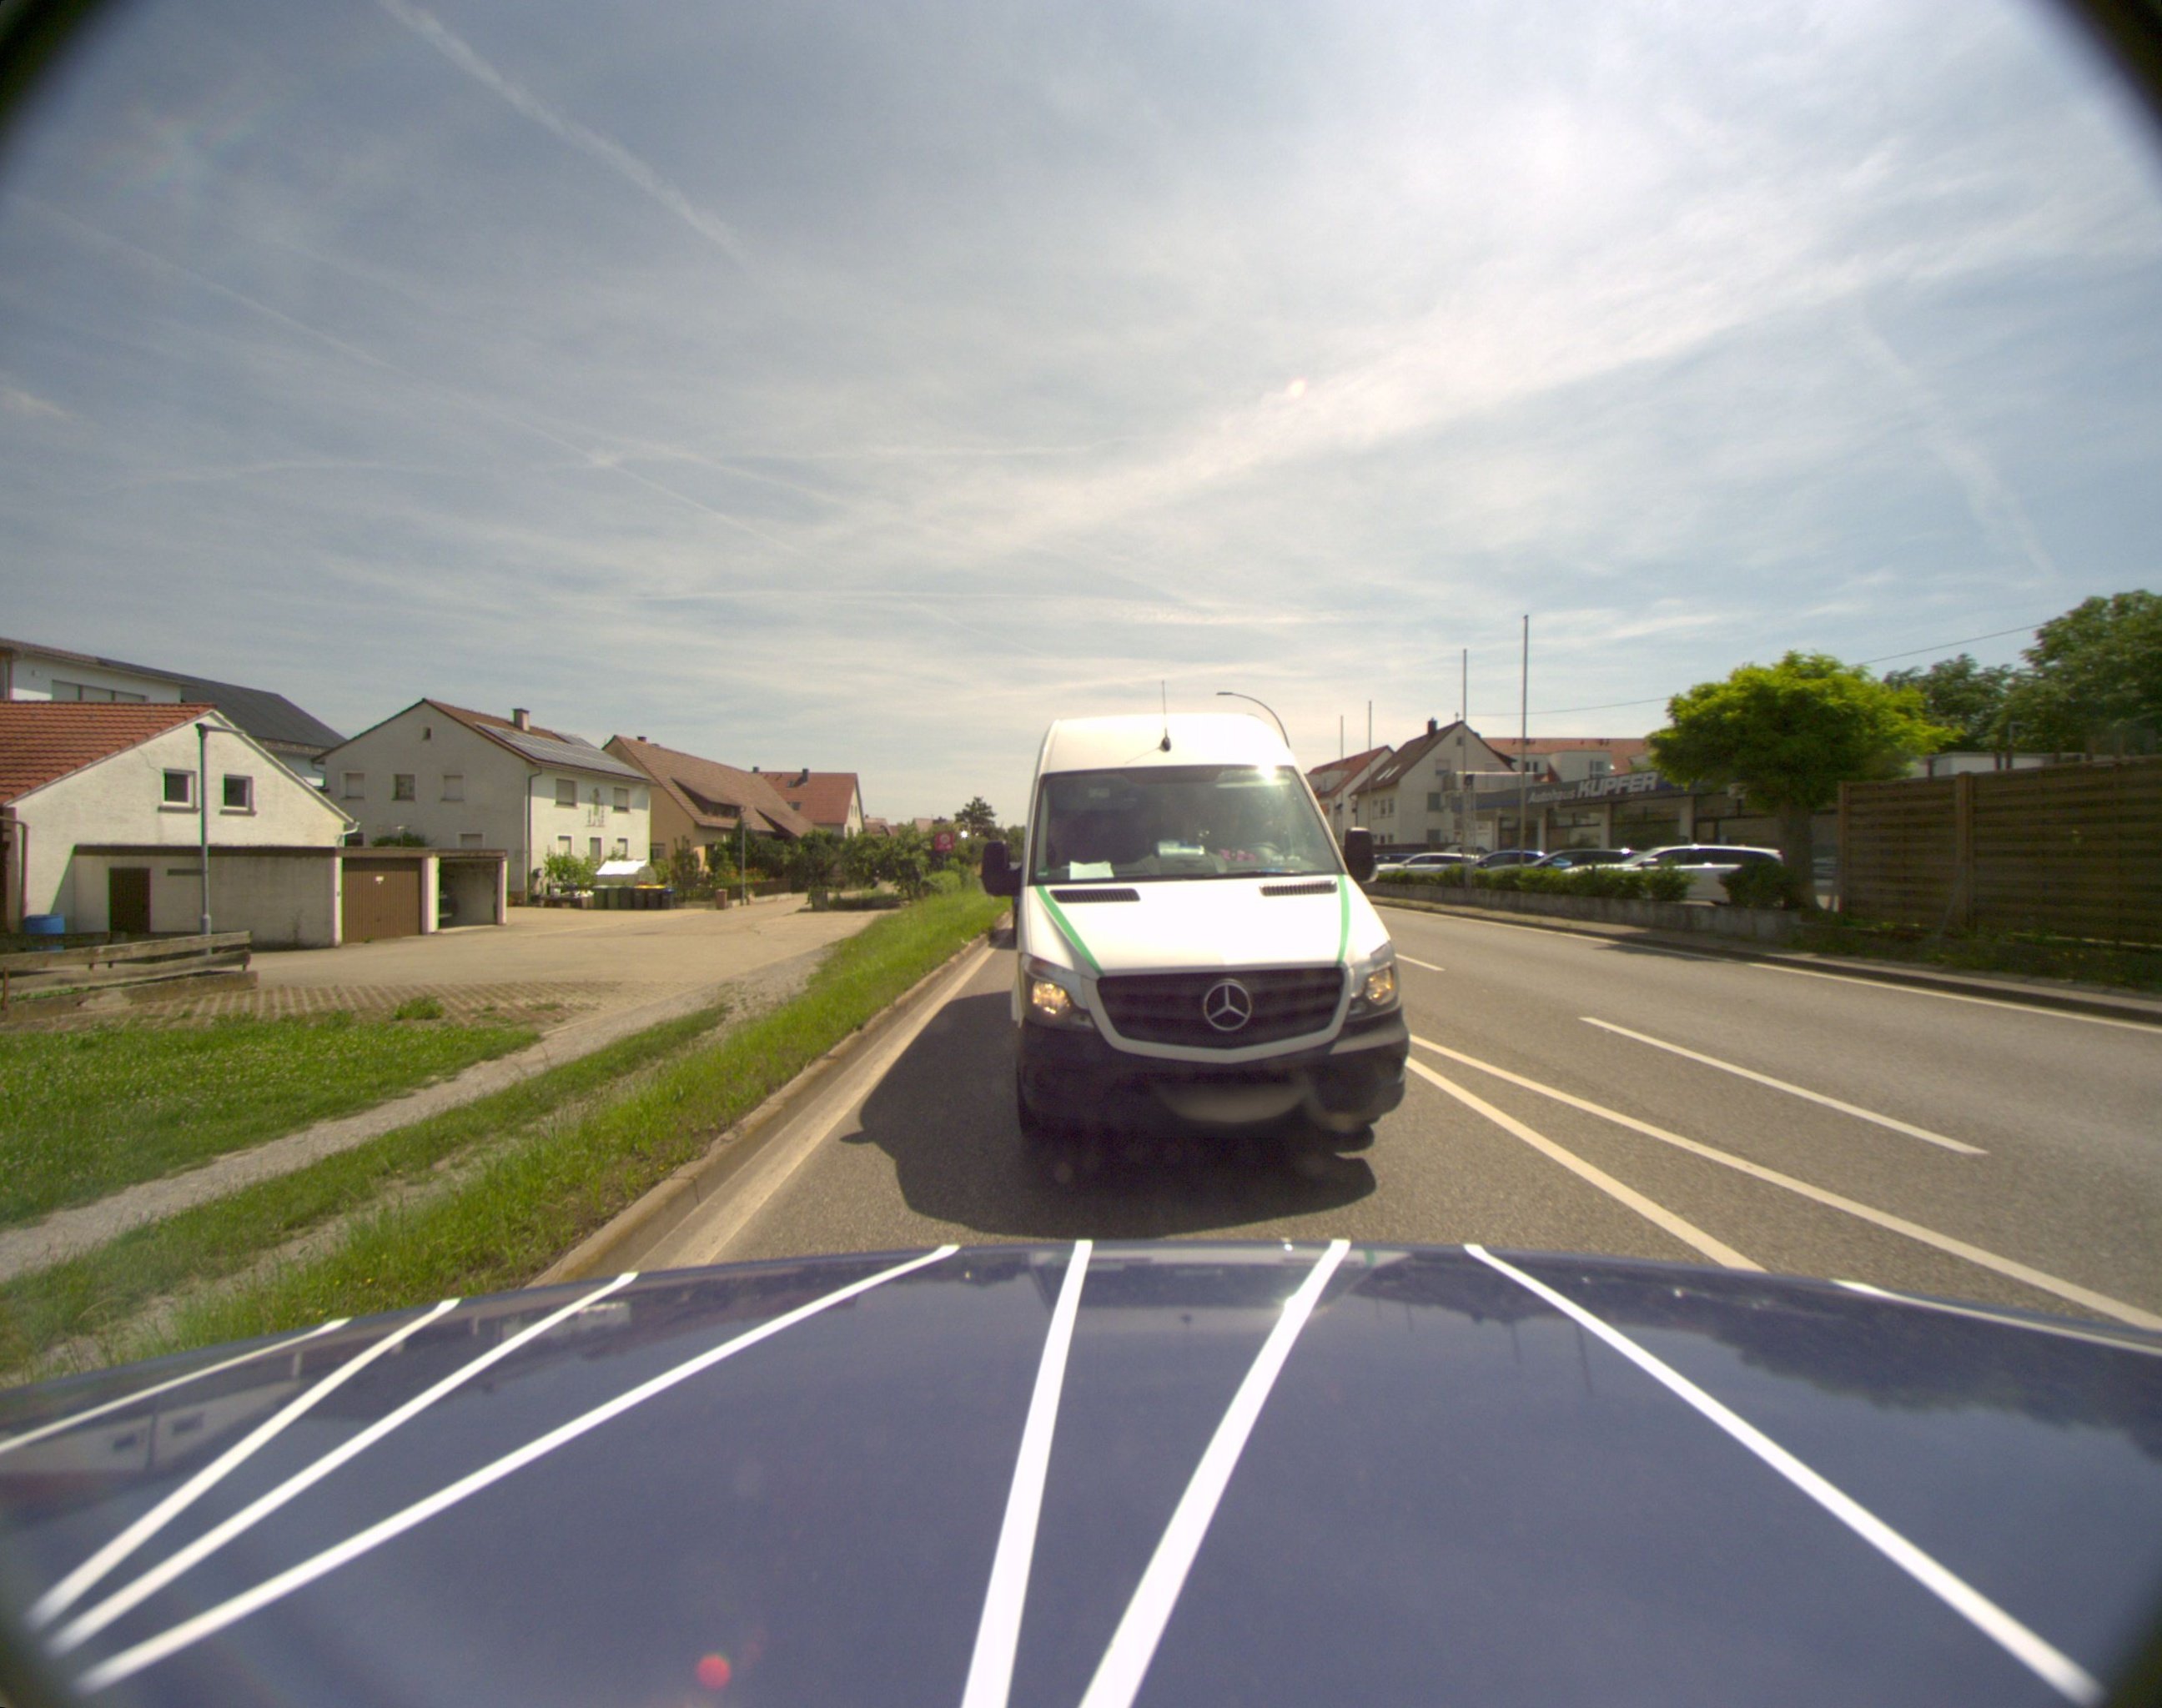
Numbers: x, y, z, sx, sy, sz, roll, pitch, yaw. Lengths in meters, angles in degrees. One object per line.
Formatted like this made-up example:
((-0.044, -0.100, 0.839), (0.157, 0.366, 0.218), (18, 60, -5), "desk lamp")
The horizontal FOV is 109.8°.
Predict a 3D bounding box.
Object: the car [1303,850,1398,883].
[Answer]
((13.558, 0.616, 38.252), (4.255, 1.521, 2.003), (-2, 0, 26), "car")

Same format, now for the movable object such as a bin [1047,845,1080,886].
((-1.180, 0.761, 53.888), (1.998, 2.710, 5.419), (-1, 0, 1), "movable object such as a bin")

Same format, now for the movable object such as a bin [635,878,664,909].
((-19.875, 1.825, 35.005), (0.765, 1.362, 0.946), (-2, 0, -1), "movable object such as a bin")

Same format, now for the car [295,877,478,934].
((-21.553, 1.564, 23.698), (3.997, 1.594, 1.826), (-1, 0, 0), "car")

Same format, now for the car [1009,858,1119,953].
((-0.318, 0.870, 14.659), (1.824, 1.574, 3.901), (-1, 0, -1), "car")

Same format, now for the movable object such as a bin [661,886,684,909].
((-18.867, 1.992, 35.100), (0.645, 1.021, 0.756), (-2, 0, -1), "movable object such as a bin")

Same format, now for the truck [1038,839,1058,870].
((-4.291, 0.100, 99.983), (2.506, 3.847, 5.497), (-1, 0, -1), "truck")

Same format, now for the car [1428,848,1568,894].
((13.917, 0.577, 25.627), (3.990, 1.433, 1.857), (-2, 0, 25), "car")

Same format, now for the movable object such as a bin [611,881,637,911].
((-21.214, 1.938, 35.302), (0.678, 1.330, 0.820), (-2, 0, -1), "movable object such as a bin")

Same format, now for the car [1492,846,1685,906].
((14.222, 0.624, 21.617), (4.251, 1.536, 1.853), (-2, 0, 23), "car")

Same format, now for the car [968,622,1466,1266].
((0.529, 0.379, 5.940), (1.978, 2.583, 5.633), (-2, 0, -1), "car")

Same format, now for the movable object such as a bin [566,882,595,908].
((-23.064, 1.879, 35.014), (0.740, 1.149, 0.830), (-2, 0, -1), "movable object such as a bin")

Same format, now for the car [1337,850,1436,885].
((13.761, 0.595, 34.201), (3.990, 1.455, 2.003), (-2, 0, 26), "car")

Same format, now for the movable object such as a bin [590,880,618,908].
((-22.135, 1.849, 35.273), (0.745, 1.239, 0.889), (-2, 0, -1), "movable object such as a bin")

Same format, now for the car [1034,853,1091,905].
((-0.622, 0.818, 26.555), (1.824, 1.637, 3.901), (-1, 0, -1), "car")

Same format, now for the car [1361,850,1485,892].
((13.479, 0.669, 29.991), (4.303, 1.510, 2.003), (-2, 0, 27), "car")

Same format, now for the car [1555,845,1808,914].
((13.864, 0.583, 17.906), (4.329, 1.451, 1.858), (-1, 0, 24), "car")
